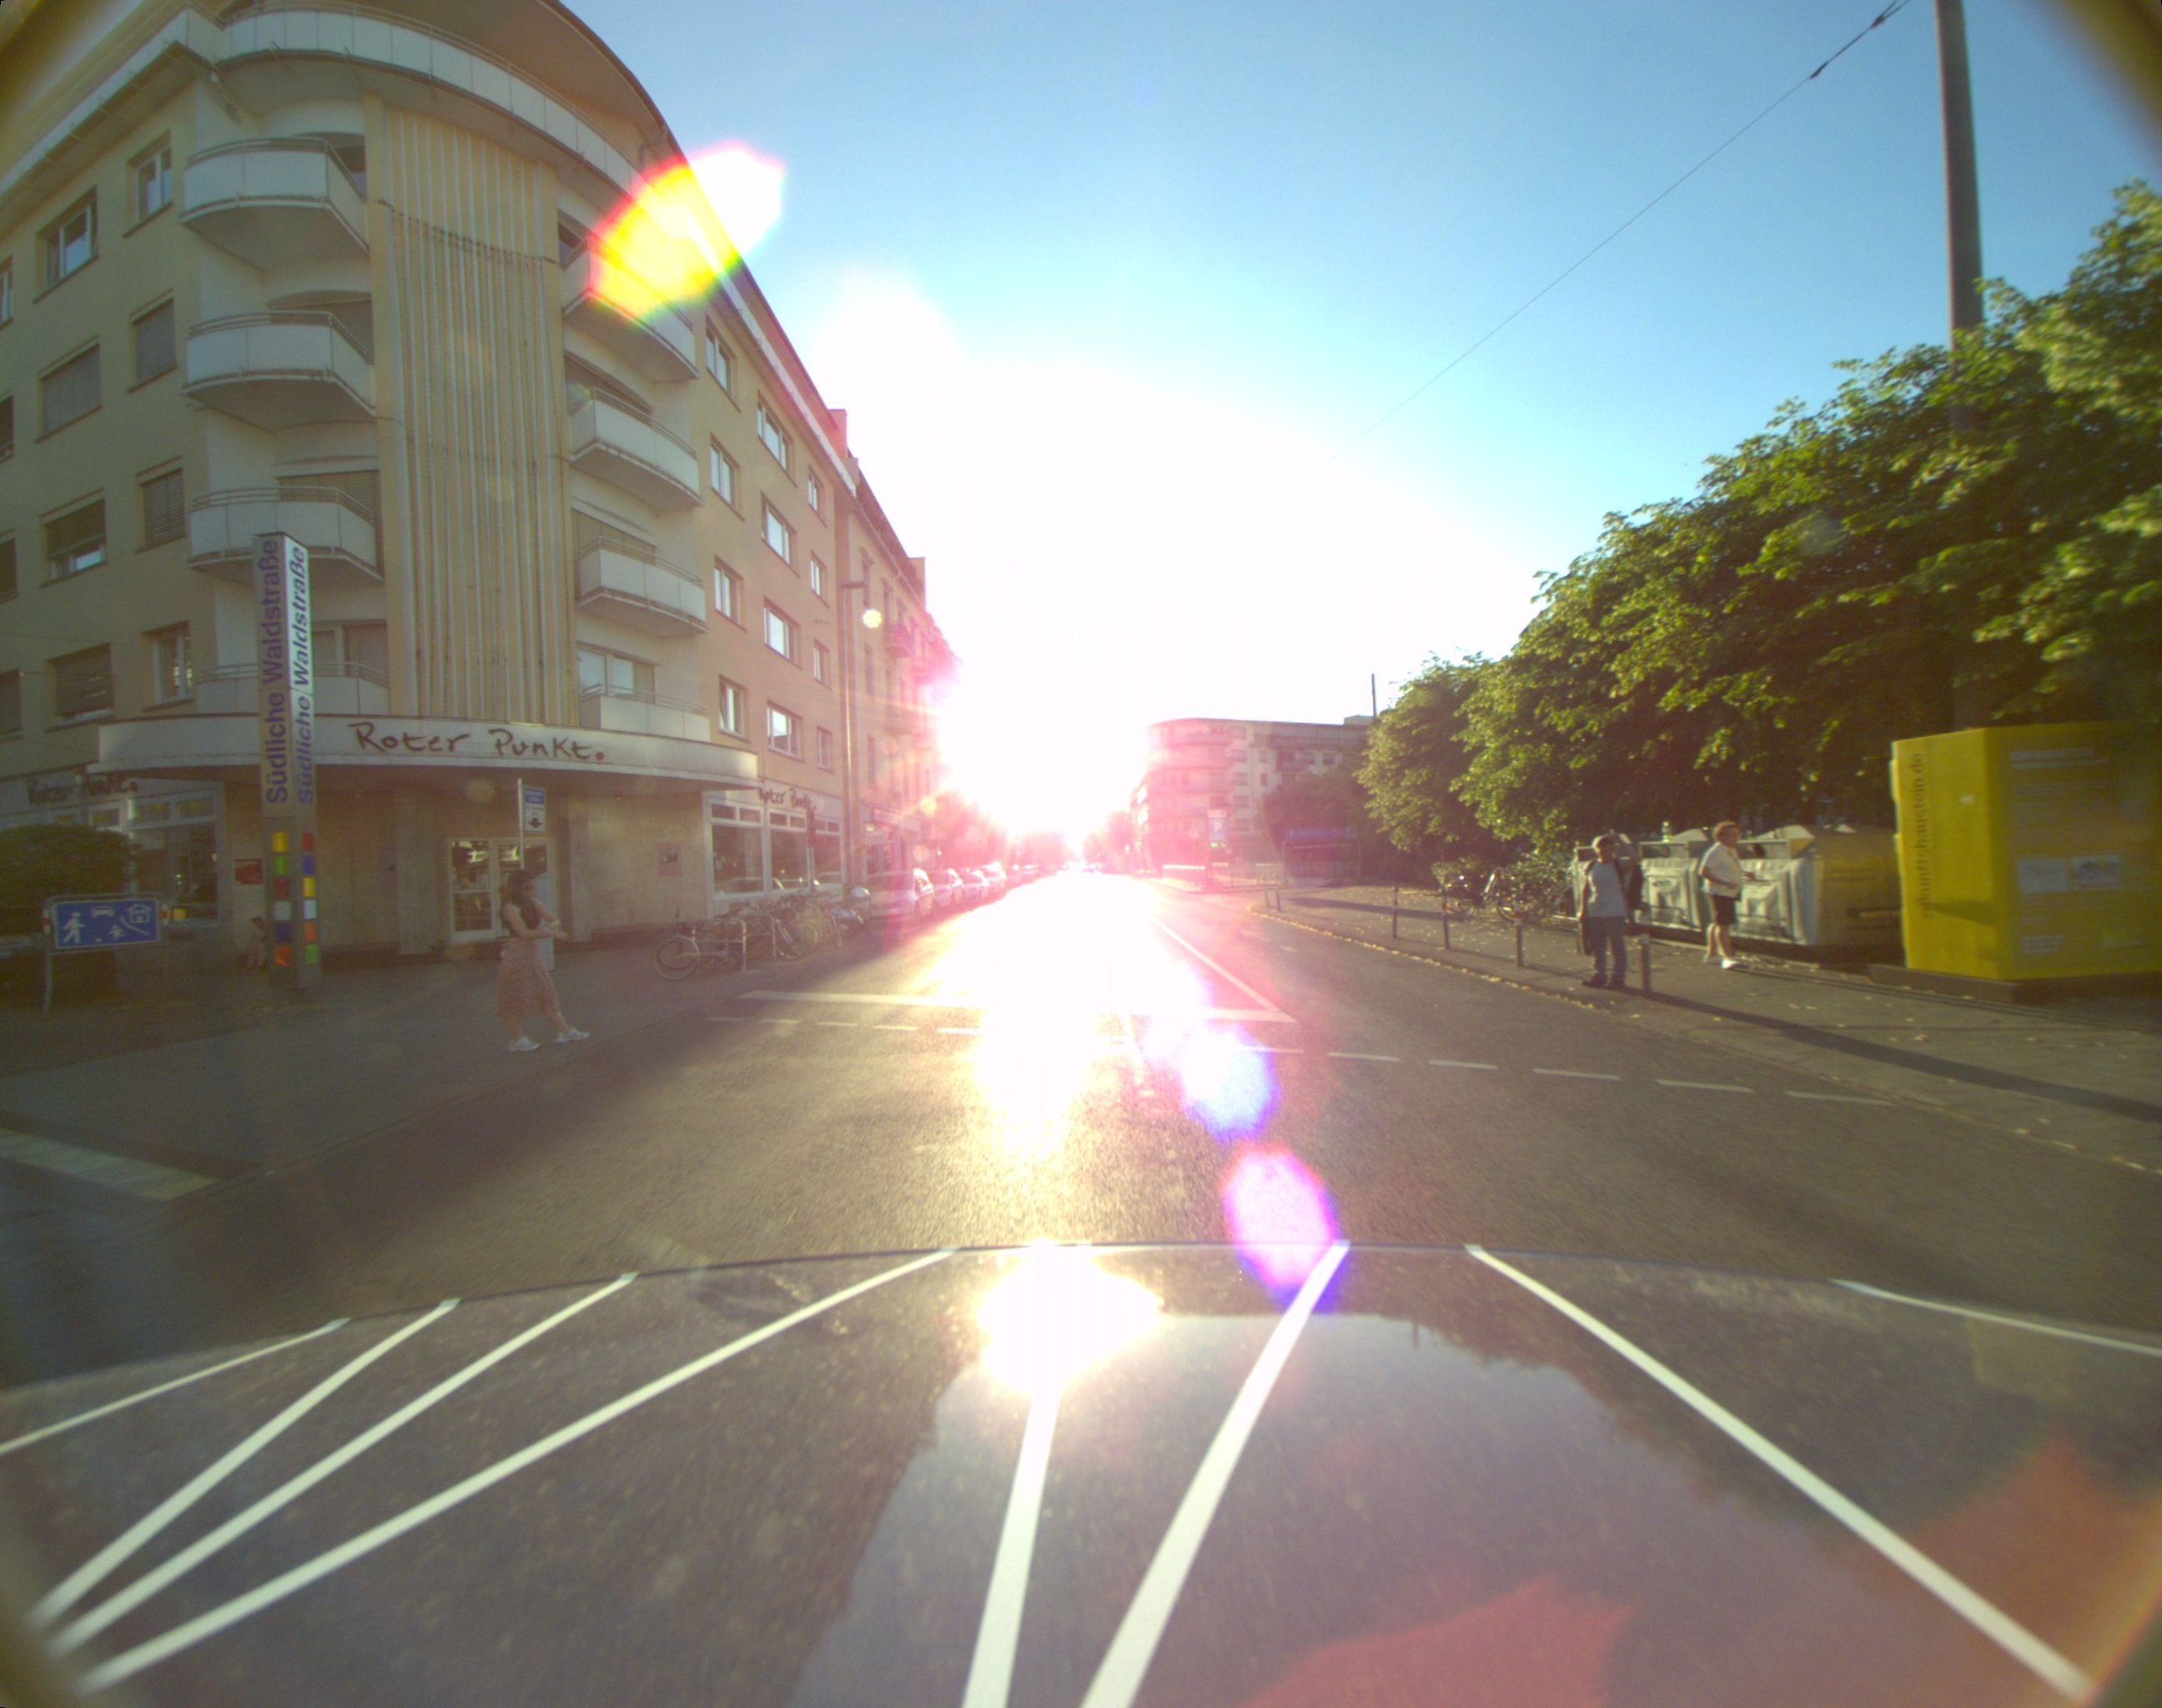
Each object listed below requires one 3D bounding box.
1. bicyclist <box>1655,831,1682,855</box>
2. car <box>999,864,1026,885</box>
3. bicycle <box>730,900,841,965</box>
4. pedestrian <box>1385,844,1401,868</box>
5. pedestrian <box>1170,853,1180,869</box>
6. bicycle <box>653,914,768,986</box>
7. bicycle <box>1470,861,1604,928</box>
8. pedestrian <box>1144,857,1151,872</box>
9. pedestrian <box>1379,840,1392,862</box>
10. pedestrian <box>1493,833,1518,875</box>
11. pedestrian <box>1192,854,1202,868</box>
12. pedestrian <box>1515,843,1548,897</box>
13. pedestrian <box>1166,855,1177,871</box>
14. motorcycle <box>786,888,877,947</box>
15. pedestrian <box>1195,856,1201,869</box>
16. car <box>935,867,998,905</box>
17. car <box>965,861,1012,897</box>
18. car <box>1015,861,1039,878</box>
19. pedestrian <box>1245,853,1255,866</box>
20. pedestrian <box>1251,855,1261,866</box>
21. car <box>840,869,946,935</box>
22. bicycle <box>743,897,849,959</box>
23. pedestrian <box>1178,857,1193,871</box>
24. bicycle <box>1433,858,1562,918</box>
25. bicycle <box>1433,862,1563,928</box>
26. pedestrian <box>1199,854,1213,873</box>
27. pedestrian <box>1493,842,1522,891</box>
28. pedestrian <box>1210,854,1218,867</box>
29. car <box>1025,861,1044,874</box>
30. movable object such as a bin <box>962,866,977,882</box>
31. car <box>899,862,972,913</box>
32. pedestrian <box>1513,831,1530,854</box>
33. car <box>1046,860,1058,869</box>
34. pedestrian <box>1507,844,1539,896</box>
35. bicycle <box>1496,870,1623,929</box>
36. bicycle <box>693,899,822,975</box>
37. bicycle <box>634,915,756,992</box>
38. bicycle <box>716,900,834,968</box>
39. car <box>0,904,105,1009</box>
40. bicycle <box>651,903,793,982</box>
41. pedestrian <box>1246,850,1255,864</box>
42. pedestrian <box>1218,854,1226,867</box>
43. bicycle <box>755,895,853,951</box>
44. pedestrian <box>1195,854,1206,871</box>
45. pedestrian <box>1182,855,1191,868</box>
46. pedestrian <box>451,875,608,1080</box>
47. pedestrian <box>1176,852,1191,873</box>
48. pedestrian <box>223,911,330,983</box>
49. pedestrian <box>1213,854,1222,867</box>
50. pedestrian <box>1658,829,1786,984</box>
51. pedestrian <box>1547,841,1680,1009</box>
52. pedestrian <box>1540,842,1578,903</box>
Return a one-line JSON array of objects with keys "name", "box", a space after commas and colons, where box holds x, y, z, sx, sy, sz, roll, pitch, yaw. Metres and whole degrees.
[{"name": "bicyclist", "box": [37.882, -0.709, 49.003, 0.752, 1.500, 1.383, -2, 0, 9]}, {"name": "car", "box": [-5.421, 1.613, 60.953, 1.704, 1.575, 4.001, -2, -1, 1]}, {"name": "bicycle", "box": [-5.698, 1.500, 14.703, 1.889, 1.106, 0.521, -3, 0, -3]}, {"name": "pedestrian", "box": [25.296, 0.143, 61.599, 0.782, 1.864, 0.713, -2, -1, -20]}, {"name": "pedestrian", "box": [10.656, 0.790, 85.810, 0.737, 1.783, 0.811, -2, -1, -22]}, {"name": "bicycle", "box": [-5.729, 1.477, 11.799, 1.504, 1.020, 0.512, -1, 0, -4]}, {"name": "bicycle", "box": [9.293, 0.817, 15.526, 2.437, 1.230, 0.462, -3, 0, -2]}, {"name": "pedestrian", "box": [9.120, 1.451, 104.515, 0.730, 1.936, 0.740, -2, 0, -5]}, {"name": "pedestrian", "box": [24.999, -0.226, 62.390, 0.686, 1.735, 0.717, -3, -1, 37]}, {"name": "pedestrian", "box": [20.907, 0.010, 37.426, 0.912, 2.002, 0.920, -3, 0, 23]}, {"name": "pedestrian", "box": [13.348, 0.836, 87.575, 0.854, 1.528, 0.713, -2, 4, -22]}, {"name": "pedestrian", "box": [16.511, 0.585, 27.841, 0.803, 1.936, 0.731, -2, 0, 13]}, {"name": "pedestrian", "box": [10.393, 1.028, 87.032, 0.870, 1.783, 0.850, -2, -1, -22]}, {"name": "motorcycle", "box": [-5.726, 1.441, 17.505, 1.817, 1.255, 0.716, -1, 0, -2]}, {"name": "pedestrian", "box": [13.811, 1.003, 89.514, 0.647, 1.527, 0.753, -2, 0, 9]}, {"name": "car", "box": [-5.144, 1.414, 34.731, 2.021, 1.534, 4.871, -2, -2, 1]}, {"name": "car", "box": [-4.838, 1.329, 40.338, 1.887, 1.734, 4.660, -2, -1, 0]}, {"name": "car", "box": [-5.273, 1.508, 74.420, 1.999, 1.525, 4.682, -2, -2, -1]}, {"name": "pedestrian", "box": [20.376, 0.622, 91.728, 0.851, 1.526, 0.716, -3, -1, 44]}, {"name": "pedestrian", "box": [21.004, 0.739, 91.118, 0.850, 1.271, 0.716, -1, 3, 44]}, {"name": "car", "box": [-5.504, 1.340, 22.918, 1.999, 1.603, 4.803, -2, 0, -1]}, {"name": "bicycle", "box": [-5.804, 1.501, 15.539, 1.889, 1.106, 0.593, -3, 2, -3]}, {"name": "pedestrian", "box": [12.056, 1.189, 87.928, 1.525, 0.691, 0.713, -44, 10, -7]}, {"name": "bicycle", "box": [9.647, 0.804, 17.717, 2.506, 1.276, 0.817, -3, 0, 21]}, {"name": "bicycle", "box": [8.870, 0.859, 16.211, 2.437, 1.230, 0.517, -4, 0, -2]}, {"name": "pedestrian", "box": [11.826, 0.875, 71.892, 0.982, 1.783, 0.892, -3, -1, 36]}, {"name": "pedestrian", "box": [17.335, 0.492, 30.894, 0.803, 1.936, 0.731, -2, 0, 13]}, {"name": "pedestrian", "box": [15.663, 0.791, 89.712, 0.655, 1.527, 0.674, -2, 2, -26]}, {"name": "car", "box": [-5.642, 1.621, 92.846, 1.998, 1.511, 4.001, -1, -1, 1]}, {"name": "movable object such as a bin", "box": [-8.546, 1.515, 58.151, 0.868, 1.179, 1.398, -2, 0, 0]}, {"name": "car", "box": [-5.499, 1.263, 29.283, 1.872, 1.751, 4.409, -2, -1, 0]}, {"name": "pedestrian", "box": [33.691, -0.868, 58.110, 0.922, 1.716, 0.701, -2, 0, -25]}, {"name": "car", "box": [-5.341, 1.871, 139.910, 1.999, 1.543, 4.000, -2, 0, -1]}, {"name": "pedestrian", "box": [16.800, 0.610, 28.885, 0.803, 1.936, 0.731, -2, 0, 13]}, {"name": "bicycle", "box": [9.386, 0.882, 14.939, 2.048, 0.965, 0.636, -5, 0, -2]}, {"name": "bicycle", "box": [-5.582, 1.425, 13.209, 1.889, 1.160, 0.723, -2, 0, -3]}, {"name": "bicycle", "box": [-5.725, 1.467, 11.310, 1.504, 1.009, 0.512, -3, 0, -2]}, {"name": "bicycle", "box": [-5.680, 1.480, 14.163, 1.889, 1.106, 0.601, -3, 0, -2]}, {"name": "car", "box": [-18.636, 1.707, 12.575, 3.991, 1.560, 1.931, -3, 0, 21]}, {"name": "bicycle", "box": [-5.815, 1.417, 12.402, 1.889, 1.106, 0.762, -3, 0, -3]}, {"name": "pedestrian", "box": [20.924, 0.348, 93.888, 0.669, 1.710, 0.717, -2, 0, -25]}, {"name": "pedestrian", "box": [16.577, 0.755, 89.295, 0.701, 1.519, 0.649, -2, 4, -28]}, {"name": "bicycle", "box": [-6.046, 1.498, 16.653, 1.889, 1.106, 0.593, -2, 0, -3]}, {"name": "pedestrian", "box": [13.070, 0.899, 83.074, 0.884, 1.792, 0.713, -2, -1, -29]}, {"name": "pedestrian", "box": [12.291, 0.841, 88.789, 0.713, 1.526, 0.855, -3, -1, 32]}, {"name": "pedestrian", "box": [-4.999, 1.069, 6.955, 0.797, 1.710, 0.811, -3, 0, -7]}, {"name": "pedestrian", "box": [9.605, 0.797, 71.303, 0.891, 1.872, 0.983, -2, -1, -22]}, {"name": "pedestrian", "box": [-14.876, 1.692, 14.087, 0.730, 1.167, 1.181, -2, 0, -7]}, {"name": "pedestrian", "box": [15.949, 0.770, 88.813, 0.760, 1.528, 0.712, -2, 4, -28]}, {"name": "pedestrian", "box": [7.561, 0.589, 8.984, 0.872, 1.710, 0.758, -3, 0, -19]}, {"name": "pedestrian", "box": [5.787, 0.739, 8.293, 0.885, 1.710, 0.715, -3, 0, -11]}, {"name": "pedestrian", "box": [15.725, 0.601, 24.996, 0.803, 1.936, 0.731, -2, 0, 13]}]
